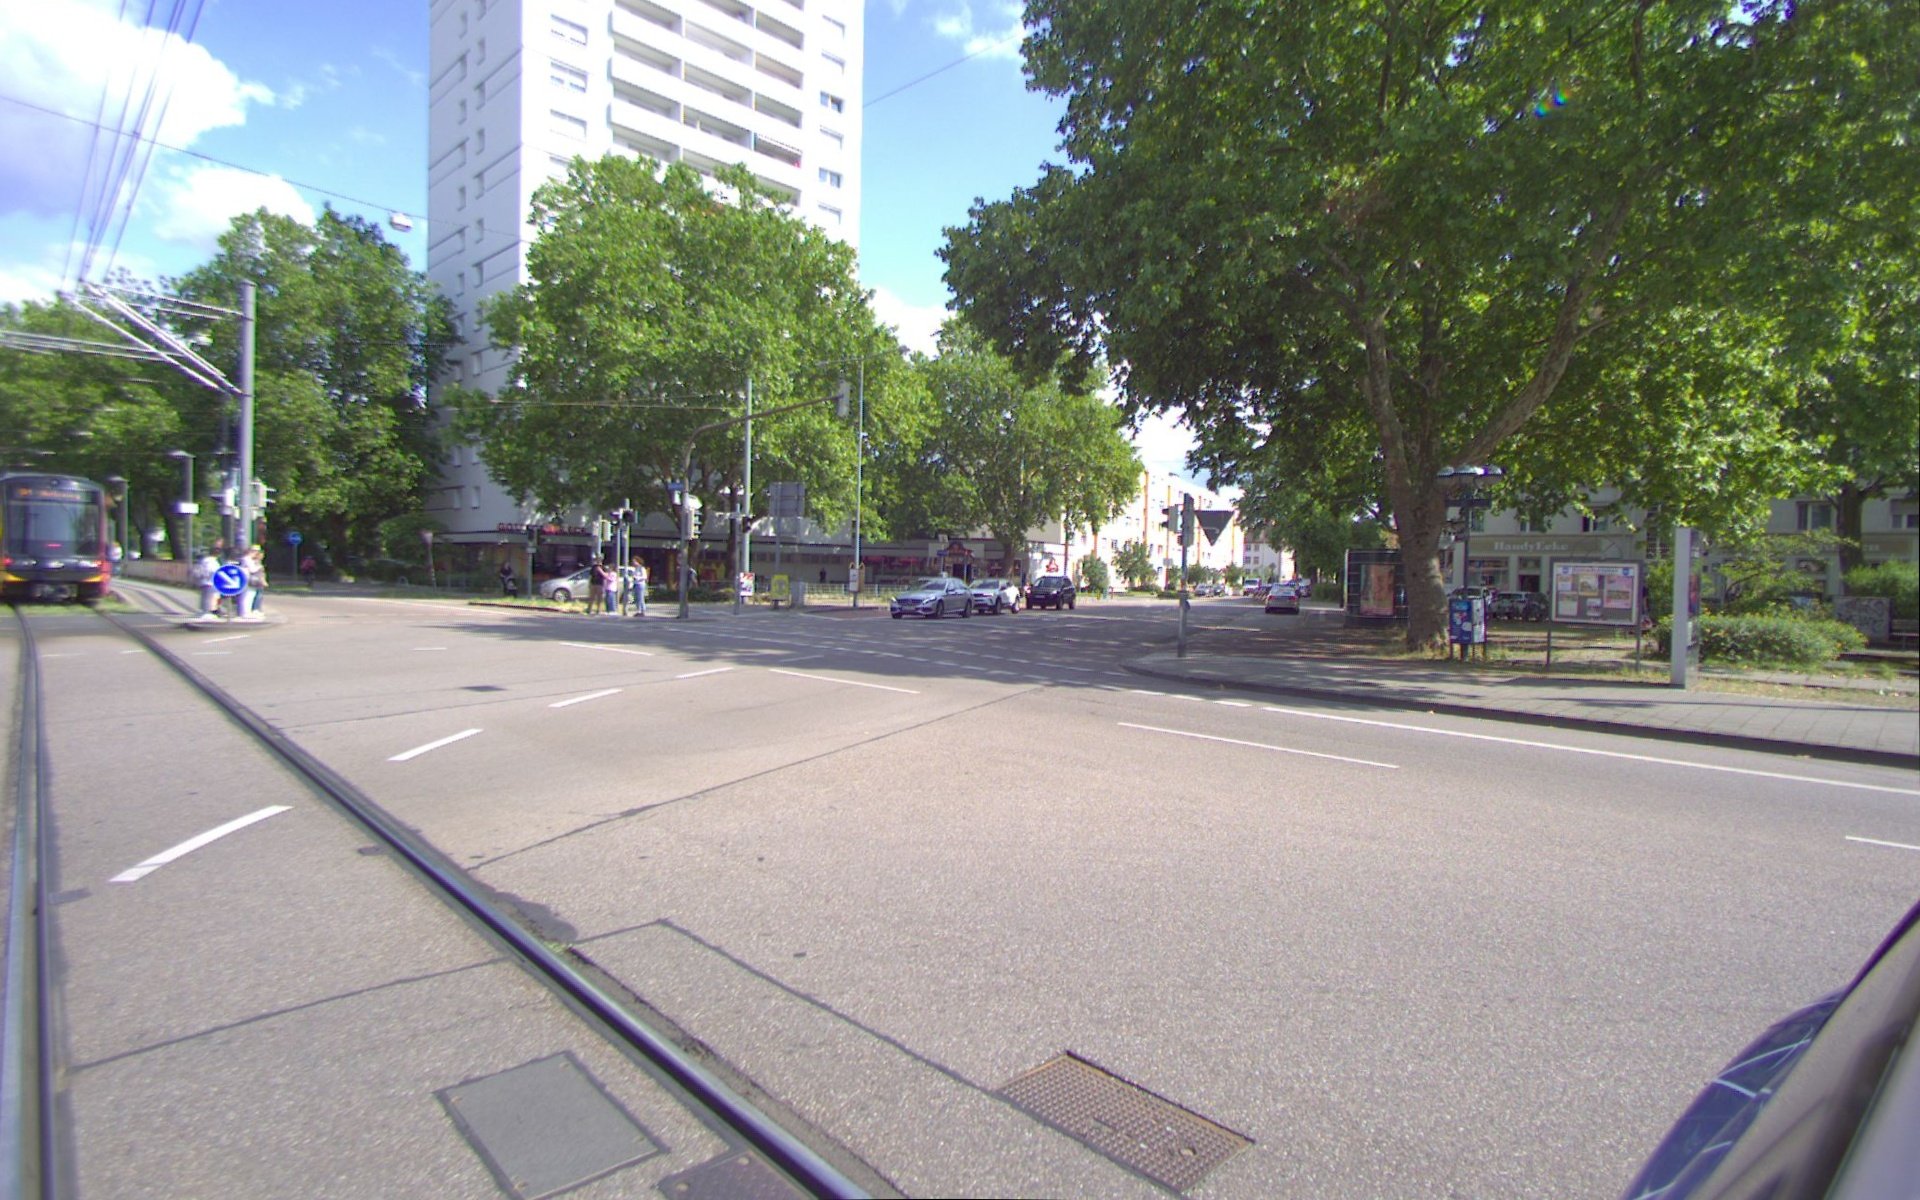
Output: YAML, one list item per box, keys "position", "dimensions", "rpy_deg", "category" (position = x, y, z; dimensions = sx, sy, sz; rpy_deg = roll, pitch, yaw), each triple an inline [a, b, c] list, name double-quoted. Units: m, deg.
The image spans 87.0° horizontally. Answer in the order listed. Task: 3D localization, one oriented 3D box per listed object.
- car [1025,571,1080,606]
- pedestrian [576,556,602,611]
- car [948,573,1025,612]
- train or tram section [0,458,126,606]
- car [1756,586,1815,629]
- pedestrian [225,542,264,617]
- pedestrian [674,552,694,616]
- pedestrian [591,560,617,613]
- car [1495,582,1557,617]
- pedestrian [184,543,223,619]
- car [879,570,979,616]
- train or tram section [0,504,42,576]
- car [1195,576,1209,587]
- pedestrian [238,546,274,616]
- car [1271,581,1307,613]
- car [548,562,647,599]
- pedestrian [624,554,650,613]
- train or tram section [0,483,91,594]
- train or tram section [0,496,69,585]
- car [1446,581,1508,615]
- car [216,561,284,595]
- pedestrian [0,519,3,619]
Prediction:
- position: [4.661, -0.616, 50.452]
  dimensions: [1.671, 1.639, 3.972]
  rpy_deg: [2, 2, 21]
  category: "car"
- position: [-11.576, -0.515, 31.614]
  dimensions: [0.550, 1.691, 0.508]
  rpy_deg: [2, 1, 23]
  category: "pedestrian"
- position: [1.163, -0.349, 41.850]
  dimensions: [1.840, 1.508, 4.045]
  rpy_deg: [2, 2, 22]
  category: "car"
- position: [-26.747, -1.884, 29.537]
  dimensions: [2.759, 3.605, 11.348]
  rpy_deg: [0, 2, -45]
  category: "train or tram section"
- position: [35.553, 0.265, 43.548]
  dimensions: [1.844, 1.680, 4.024]
  rpy_deg: [3, 2, 41]
  category: "car"
- position: [-16.822, -0.492, 23.797]
  dimensions: [0.660, 1.724, 0.646]
  rpy_deg: [0, 2, -43]
  category: "pedestrian"
- position: [-8.183, -0.477, 30.020]
  dimensions: [0.472, 1.848, 0.557]
  rpy_deg: [1, 1, -3]
  category: "pedestrian"
- position: [-11.040, -0.411, 31.394]
  dimensions: [0.550, 1.617, 0.508]
  rpy_deg: [2, 1, 23]
  category: "pedestrian"
- position: [28.586, -0.053, 51.092]
  dimensions: [1.845, 1.680, 4.021]
  rpy_deg: [3, 2, 42]
  category: "car"
- position: [-17.412, -0.448, 23.288]
  dimensions: [0.660, 1.724, 0.646]
  rpy_deg: [0, 2, -43]
  category: "pedestrian"
- position: [-1.042, -0.287, 35.832]
  dimensions: [1.843, 1.508, 3.963]
  rpy_deg: [2, 2, 27]
  category: "car"
- position: [-50.344, -3.112, 53.214]
  dimensions: [2.730, 3.526, 8.885]
  rpy_deg: [0, 2, -44]
  category: "train or tram section"
- position: [36.164, -2.737, 151.074]
  dimensions: [1.563, 1.539, 3.975]
  rpy_deg: [1, 2, 19]
  category: "car"
- position: [-17.720, -0.484, 25.461]
  dimensions: [0.660, 1.724, 0.646]
  rpy_deg: [0, 2, -43]
  category: "pedestrian"
- position: [18.065, -0.196, 55.460]
  dimensions: [1.670, 1.519, 3.975]
  rpy_deg: [2, 3, 20]
  category: "car"
- position: [-15.499, -0.822, 43.239]
  dimensions: [3.770, 1.508, 1.864]
  rpy_deg: [0, 2, -26]
  category: "car"
- position: [-9.752, -0.496, 30.562]
  dimensions: [0.550, 1.757, 0.525]
  rpy_deg: [2, 1, 23]
  category: "pedestrian"
- position: [-34.588, -2.230, 37.638]
  dimensions: [2.769, 3.605, 11.154]
  rpy_deg: [0, 2, -44]
  category: "train or tram section"
- position: [-42.660, -2.659, 46.010]
  dimensions: [2.769, 3.605, 12.129]
  rpy_deg: [0, 2, -44]
  category: "train or tram section"
- position: [26.884, -0.137, 52.609]
  dimensions: [1.845, 1.680, 4.021]
  rpy_deg: [3, 2, 42]
  category: "car"
- position: [-33.313, -1.062, 47.441]
  dimensions: [3.655, 1.502, 1.712]
  rpy_deg: [3, 2, 39]
  category: "car"
- position: [-20.024, -0.638, 20.614]
  dimensions: [0.727, 2.038, 0.703]
  rpy_deg: [0, 1, -40]
  category: "pedestrian"
